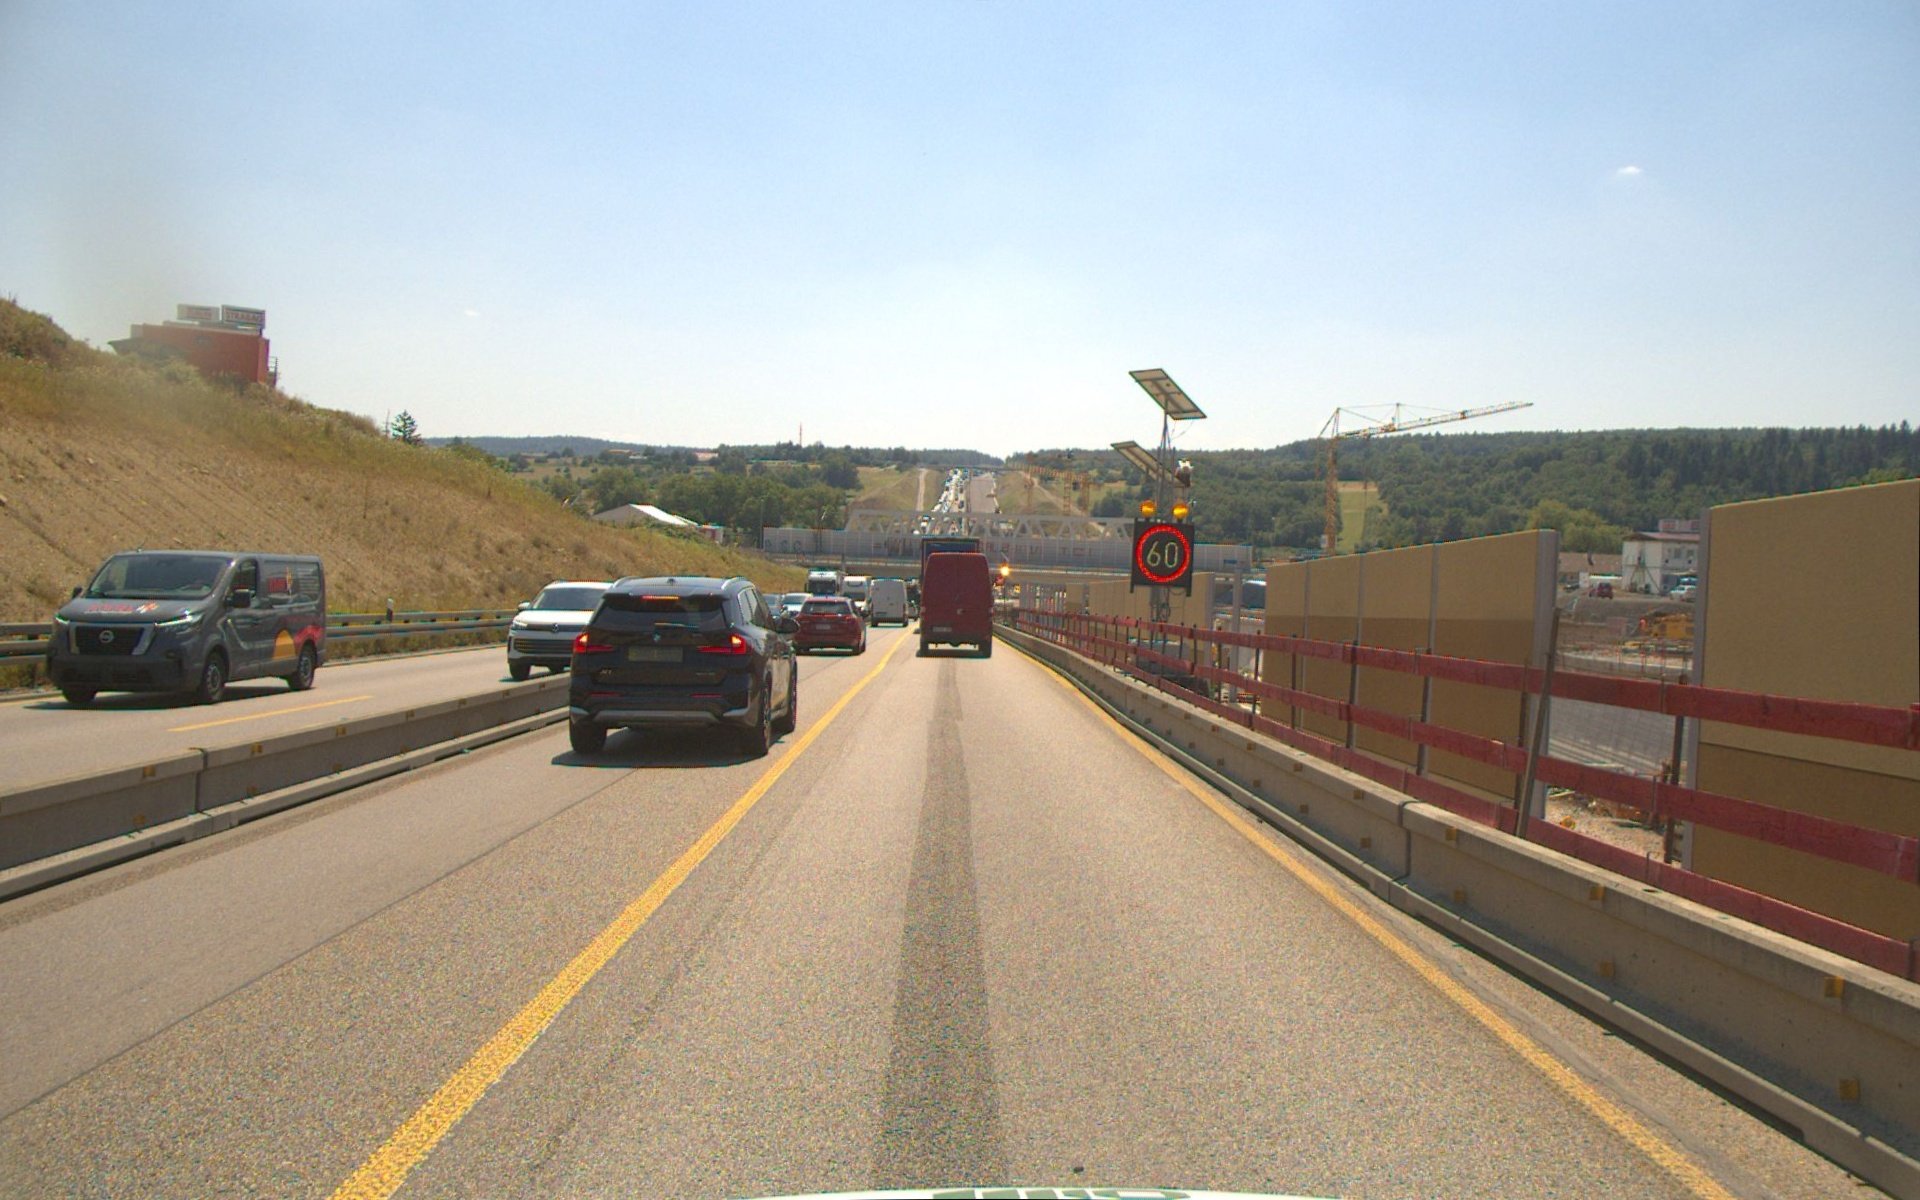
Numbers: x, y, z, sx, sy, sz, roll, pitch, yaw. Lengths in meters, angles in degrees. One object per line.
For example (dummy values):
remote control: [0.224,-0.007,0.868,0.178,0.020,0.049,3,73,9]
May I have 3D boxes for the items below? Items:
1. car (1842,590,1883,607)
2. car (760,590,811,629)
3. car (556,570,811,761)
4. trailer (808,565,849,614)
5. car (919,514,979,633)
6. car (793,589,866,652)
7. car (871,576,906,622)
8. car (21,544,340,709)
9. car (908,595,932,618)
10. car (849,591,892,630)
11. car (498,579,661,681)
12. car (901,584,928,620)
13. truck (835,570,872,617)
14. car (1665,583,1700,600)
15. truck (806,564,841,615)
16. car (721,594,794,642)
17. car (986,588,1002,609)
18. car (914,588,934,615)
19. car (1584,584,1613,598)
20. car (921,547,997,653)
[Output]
car: [84.259,-0.121,154.405,1.646,1.544,4.075,1,0,1]
car: [-7.903,0.405,75.249,1.807,1.694,4.687,1,0,-1]
car: [-2.602,0.567,16.598,1.841,1.646,4.498,0,0,-1]
trailer: [-11.560,-0.860,146.434,2.643,4.095,13.699,1,0,-1]
car: [-0.555,-1.155,76.814,2.567,5.120,10.395,0,0,-1]
car: [-3.366,0.506,43.272,1.740,1.544,4.204,0,0,-2]
car: [-3.916,-0.045,91.011,1.739,2.484,4.205,0,0,-1]
car: [-10.310,0.303,22.404,1.997,1.960,5.120,0,0,-1]
car: [-3.026,0.487,124.924,1.739,1.699,4.028,0,0,-1]
car: [-3.968,0.451,73.782,1.802,1.683,4.164,0,0,-1]
car: [-6.765,0.485,29.973,1.802,1.683,5.370,0,0,-1]
car: [-3.017,0.158,111.303,1.739,2.370,4.205,0,0,-1]
truck: [-8.200,-0.500,127.957,2.486,3.433,7.036,1,0,-1]
car: [68.961,-0.779,157.860,1.646,1.544,4.075,1,0,1]
truck: [-11.427,-0.864,138.744,2.643,4.121,3.954,1,0,-1]
car: [-6.952,0.590,57.295,1.915,1.525,5.089,1,0,-1]
car: [4.041,-0.193,196.064,1.739,2.370,4.205,0,0,-1]
car: [-3.238,0.132,147.666,1.739,2.370,4.205,0,0,-1]
car: [61.362,-0.862,159.061,1.483,1.339,3.430,1,0,1]
car: [-0.041,-0.007,44.942,1.948,2.737,4.623,0,0,-1]
